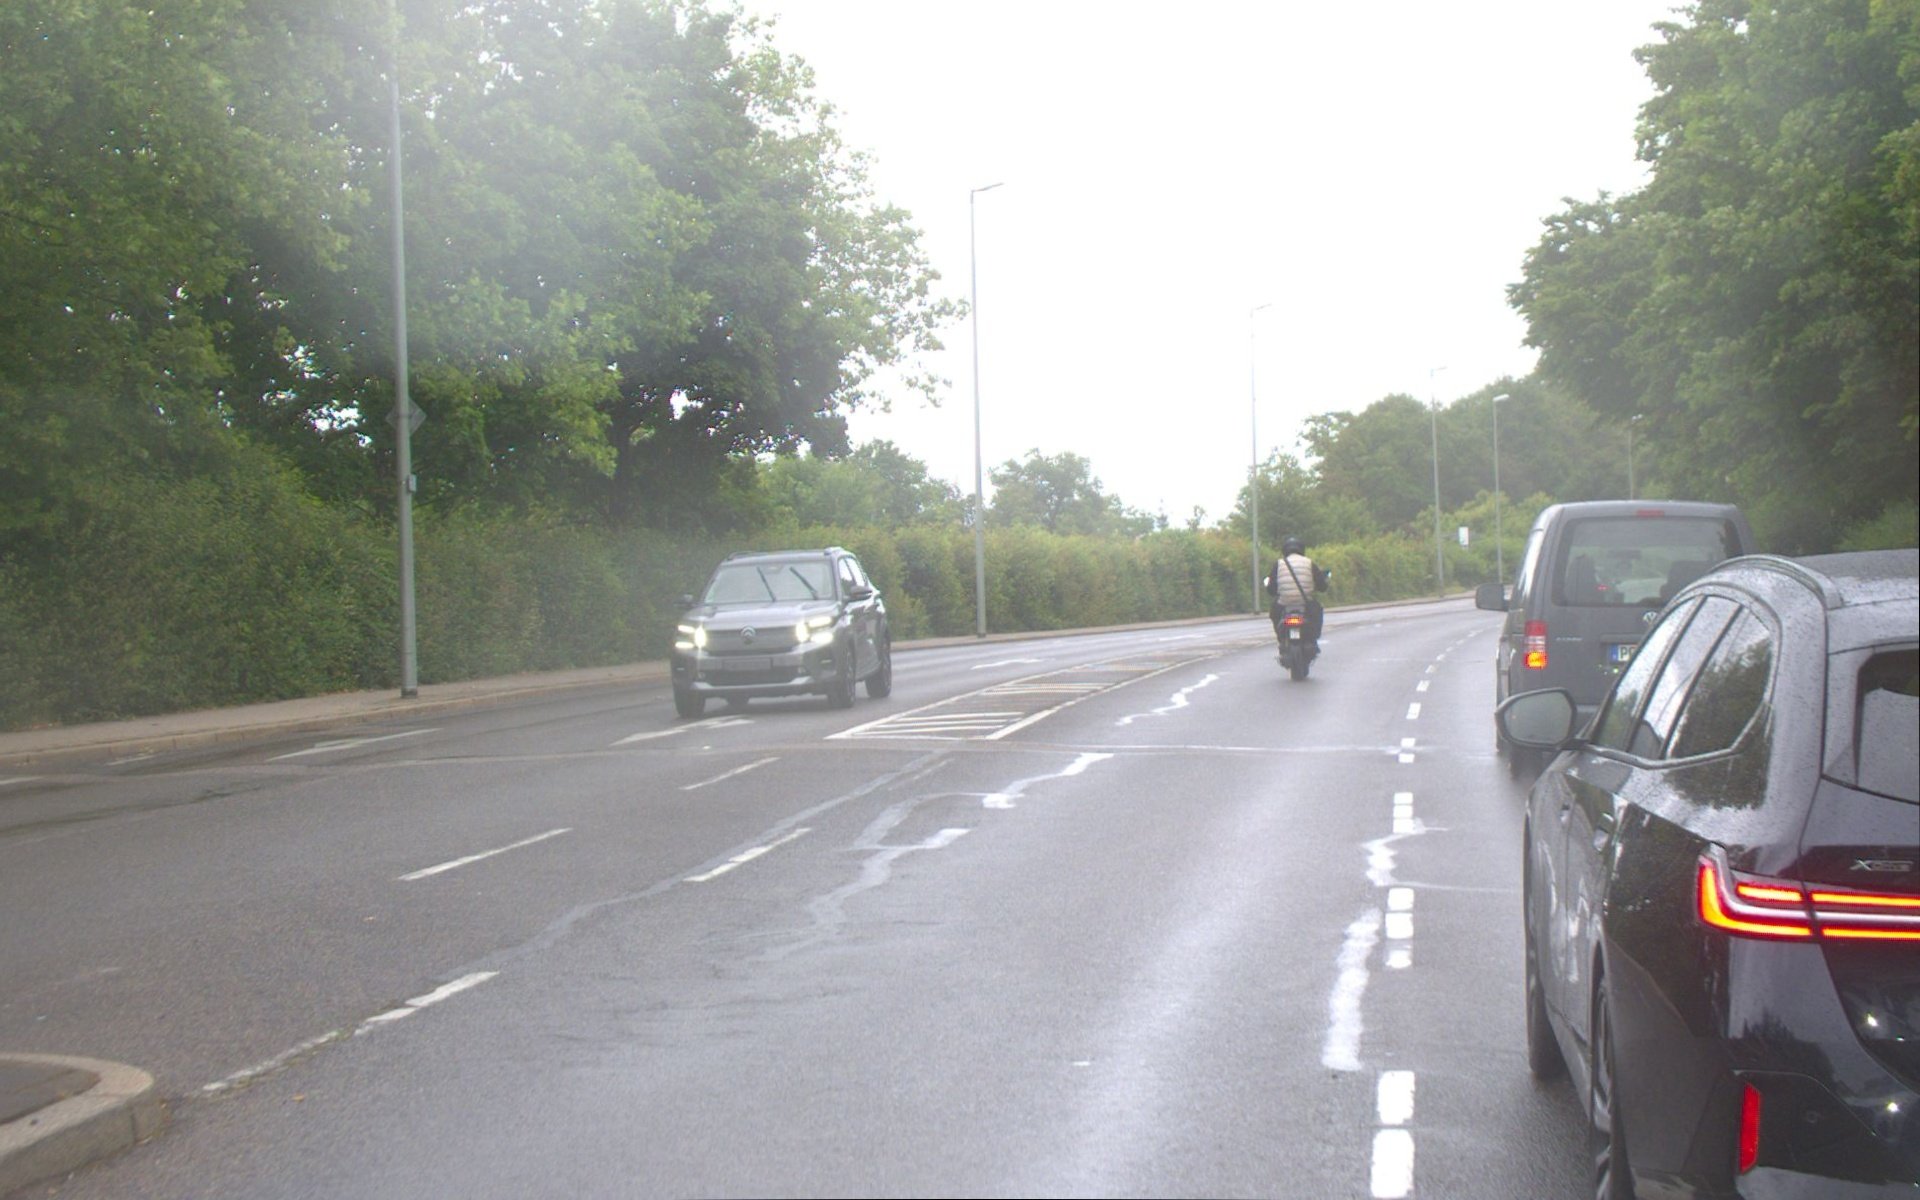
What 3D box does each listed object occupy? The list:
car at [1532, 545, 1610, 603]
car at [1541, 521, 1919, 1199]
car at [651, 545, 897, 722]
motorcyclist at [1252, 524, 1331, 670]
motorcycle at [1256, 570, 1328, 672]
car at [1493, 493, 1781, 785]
[{"bbox_3d":[16.577,-0.711,93.115,2.016,1.410,4.485,0,2,11],"label":"car"},{"bbox_3d":[2.187,0.604,7.437,1.765,1.531,3.671,0,1,9],"label":"car"},{"bbox_3d":[-1.811,0.291,34.686,1.795,1.597,3.731,-2,1,7],"label":"car"},{"bbox_3d":[3.797,-0.038,39.351,0.845,1.641,0.467,-1,2,9],"label":"motorcyclist"},{"bbox_3d":[3.820,0.231,39.460,0.741,1.115,1.426,0,2,9],"label":"motorcycle"},{"bbox_3d":[4.576,0.188,23.656,1.767,1.803,3.904,0,2,9],"label":"car"}]
